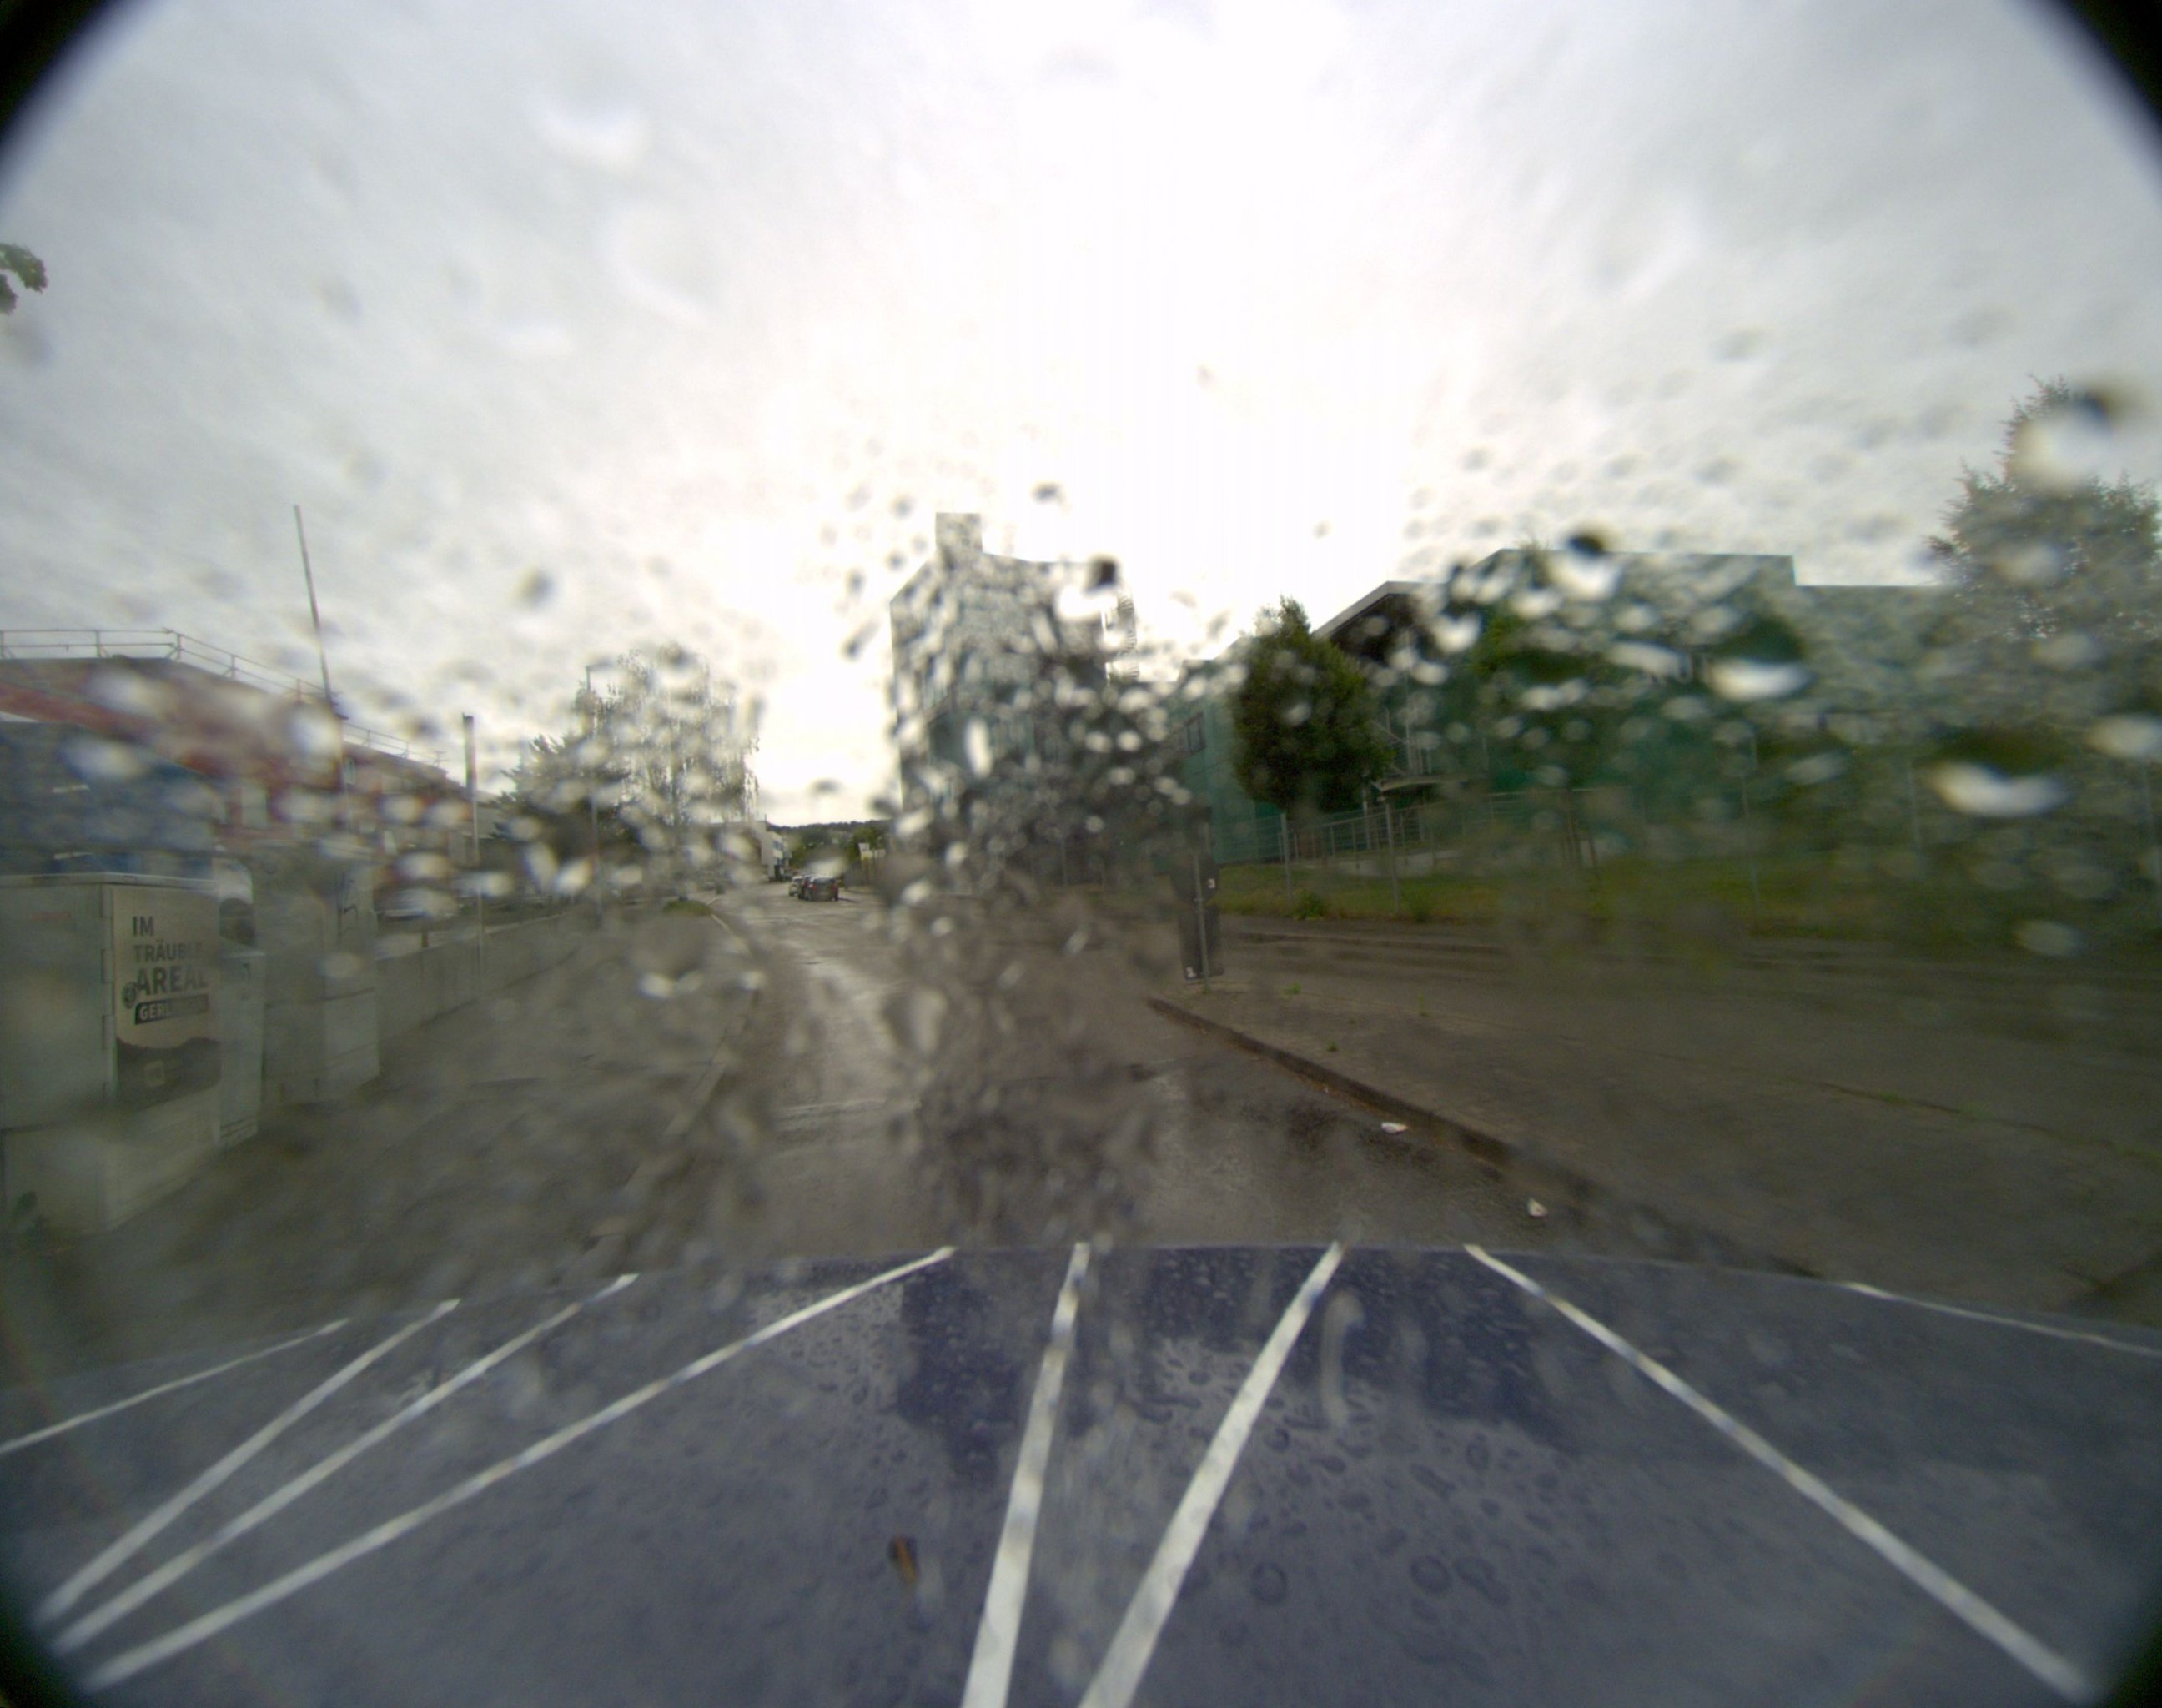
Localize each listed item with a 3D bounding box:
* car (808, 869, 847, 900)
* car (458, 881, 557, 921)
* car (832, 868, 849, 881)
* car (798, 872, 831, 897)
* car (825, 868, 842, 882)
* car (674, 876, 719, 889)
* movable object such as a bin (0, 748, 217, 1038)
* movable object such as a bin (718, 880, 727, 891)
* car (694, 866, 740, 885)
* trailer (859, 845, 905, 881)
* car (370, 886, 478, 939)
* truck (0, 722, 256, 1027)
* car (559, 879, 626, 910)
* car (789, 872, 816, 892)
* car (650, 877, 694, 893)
[{"bbox_3d":[-15.927,1.876,47.653,1.747,1.787,3.951,-3,0,-26],"label":"car"},{"bbox_3d":[-28.357,2.276,37.789,2.002,1.570,4.508,-5,0,-11],"label":"car"},{"bbox_3d":[-40.652,3.431,128.723,2.000,2.001,3.998,-2,0,-8],"label":"car"},{"bbox_3d":[-18.321,2.056,52.119,1.640,1.549,4.076,-2,0,-26],"label":"car"},{"bbox_3d":[-35.483,3.002,108.841,2.002,1.902,3.994,-2,0,-20],"label":"car"},{"bbox_3d":[-48.684,3.592,96.242,4.627,1.488,1.939,-2,0,-13],"label":"car"},{"bbox_3d":[-6.450,0.243,4.446,1.313,1.491,1.854,-3,0,-32],"label":"movable object such as a bin"},{"bbox_3d":[-35.471,3.111,75.204,0.737,1.084,0.593,-3,0,-19],"label":"movable object such as a bin"},{"bbox_3d":[-50.502,3.008,105.526,5.157,2.280,2.200,-3,0,-11],"label":"car"},{"bbox_3d":[-23.574,1.049,89.935,4.689,4.065,2.393,-3,0,25],"label":"trailer"},{"bbox_3d":[-26.663,2.310,31.036,2.002,1.827,3.993,-3,0,-21],"label":"car"},{"bbox_3d":[-8.814,0.181,5.156,2.114,2.201,5.643,-3,0,-23],"label":"truck"},{"bbox_3d":[-34.780,2.868,54.154,3.445,1.491,1.617,-12,1,-12],"label":"car"},{"bbox_3d":[-22.919,2.292,62.537,1.742,1.527,4.242,-3,0,-24],"label":"car"},{"bbox_3d":[-43.132,3.270,80.107,3.753,1.531,1.629,-2,0,-16],"label":"car"}]
